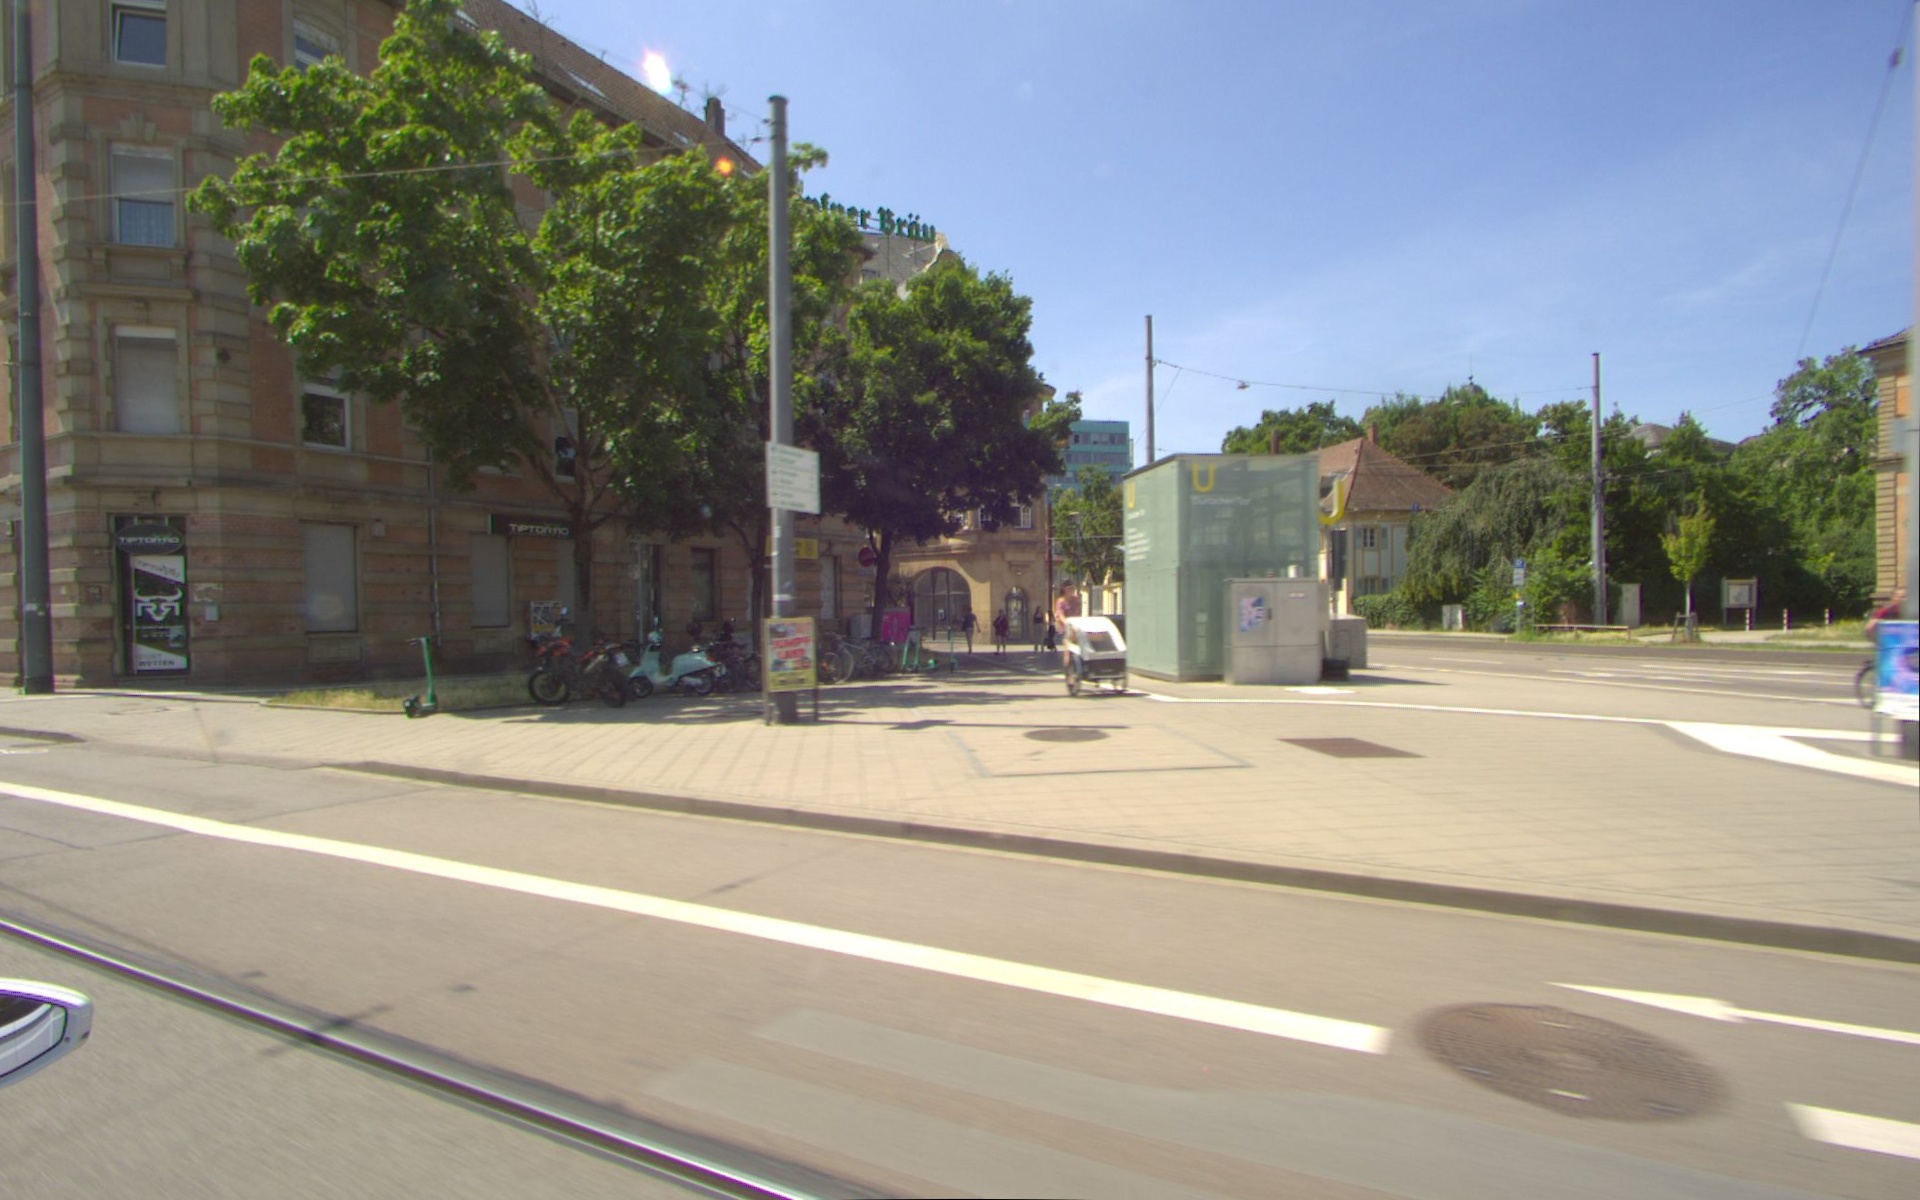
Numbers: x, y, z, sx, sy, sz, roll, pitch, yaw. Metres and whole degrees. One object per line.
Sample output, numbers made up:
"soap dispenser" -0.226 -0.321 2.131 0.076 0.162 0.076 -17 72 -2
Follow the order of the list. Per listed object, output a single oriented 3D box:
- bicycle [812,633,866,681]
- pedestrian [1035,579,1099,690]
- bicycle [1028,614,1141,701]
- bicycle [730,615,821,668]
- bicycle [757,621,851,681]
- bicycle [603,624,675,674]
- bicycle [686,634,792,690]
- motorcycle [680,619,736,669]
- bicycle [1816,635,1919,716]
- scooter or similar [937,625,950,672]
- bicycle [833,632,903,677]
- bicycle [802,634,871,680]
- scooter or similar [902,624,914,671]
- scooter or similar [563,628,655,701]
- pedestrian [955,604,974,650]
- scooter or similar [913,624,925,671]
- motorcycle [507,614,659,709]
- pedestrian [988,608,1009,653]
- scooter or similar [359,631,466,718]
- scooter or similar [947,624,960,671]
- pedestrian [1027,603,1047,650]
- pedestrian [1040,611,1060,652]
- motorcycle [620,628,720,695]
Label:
"bicycle" -2.702 1.251 22.262 0.452 1.005 1.415 -1 0 -43
"pedestrian" 1.782 0.570 16.755 0.799 1.798 0.824 -1 0 -14
"bicycle" 1.951 0.877 16.134 1.079 1.267 2.218 -1 0 -14
"bicycle" -3.614 0.797 19.578 1.812 0.978 0.644 -1 0 33
"bicycle" -3.156 1.012 20.232 1.809 1.162 0.645 -1 0 26
"bicycle" -8.188 1.235 25.623 0.703 1.193 1.876 -1 0 23
"bicycle" -4.154 1.150 18.793 2.051 0.978 0.644 -1 0 31
"motorcycle" -6.814 1.175 27.121 0.495 1.307 1.638 0 0 29
"bicycle" 12.913 1.010 13.614 0.712 1.019 2.019 -1 0 -5
"scooter or similar" -0.414 1.199 25.225 0.263 1.140 0.987 -1 0 -4
"bicycle" -2.147 1.253 23.289 1.541 1.005 0.503 -1 0 15
"bicycle" -2.609 1.186 21.098 1.406 0.917 0.455 -1 0 26
"scooter or similar" -1.316 1.190 25.146 0.263 1.140 0.987 -1 0 -4
"scooter or similar" -5.887 1.080 16.809 1.356 1.167 0.601 -2 0 20
"pedestrian" 0.167 1.024 38.265 0.603 1.721 0.585 -1 0 -11
"scooter or similar" -1.023 1.187 25.094 0.263 1.140 0.987 -1 0 -4
"motorcycle" -5.892 0.927 15.599 2.557 1.380 0.762 -1 0 31
"pedestrian" 1.380 1.087 35.834 0.603 1.617 0.601 -1 0 -10
"scooter or similar" -7.990 1.056 14.689 0.701 1.171 1.525 -1 0 1
"scooter or similar" -0.166 1.192 25.131 0.263 1.140 0.987 -1 0 -4
"pedestrian" 2.862 0.983 37.117 0.603 1.721 0.585 -1 0 -10
"pedestrian" 3.285 1.132 36.481 0.574 1.462 0.614 -1 0 -10
"motorcycle" -5.123 1.072 17.673 1.722 1.111 0.690 -1 0 30
